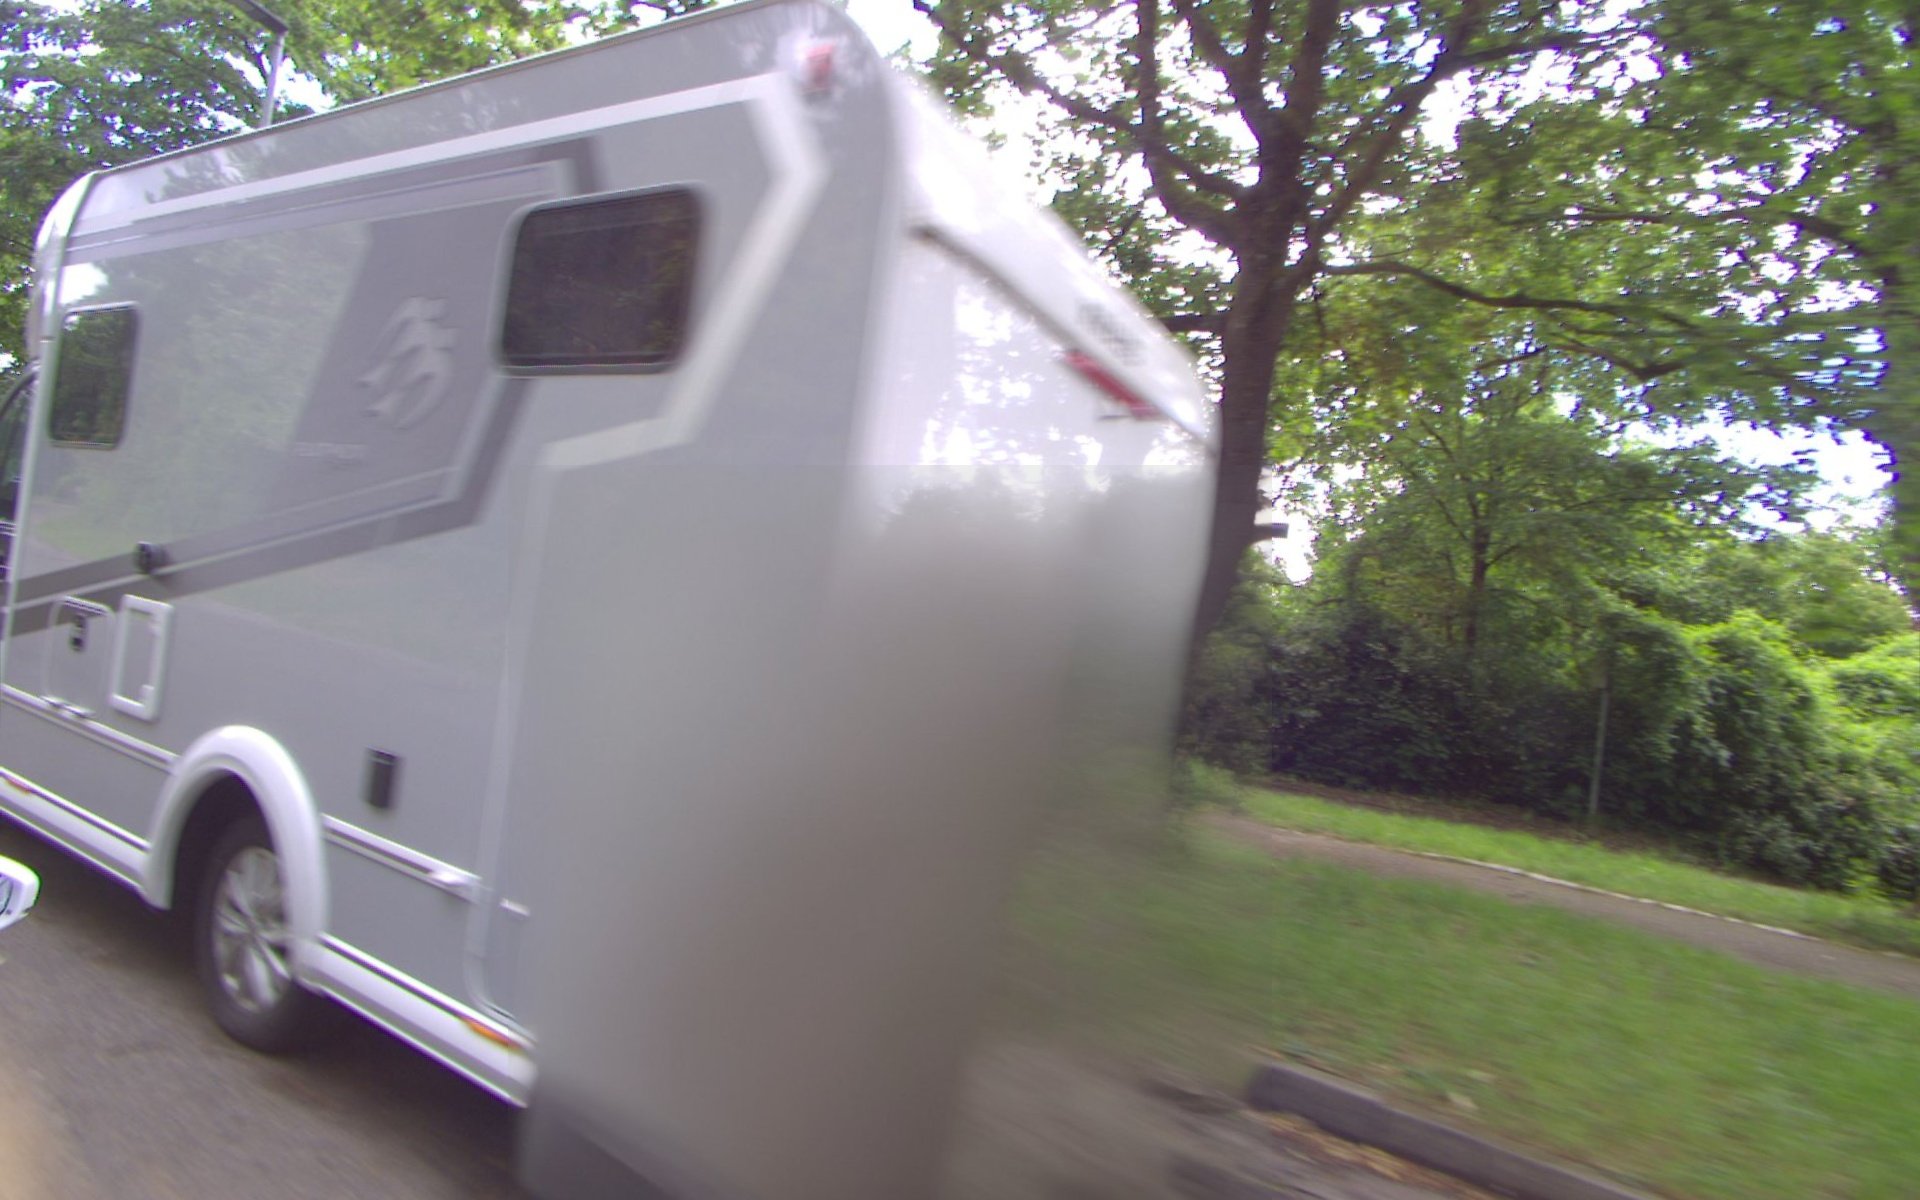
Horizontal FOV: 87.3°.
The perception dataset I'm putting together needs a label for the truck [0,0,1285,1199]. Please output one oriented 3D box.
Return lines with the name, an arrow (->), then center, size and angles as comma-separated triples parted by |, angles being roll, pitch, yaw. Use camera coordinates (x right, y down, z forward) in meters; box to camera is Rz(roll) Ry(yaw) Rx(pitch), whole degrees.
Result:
truck -> -2.506, -0.181, 4.502 | 6.915, 2.968, 2.308 | 7, 0, 31
